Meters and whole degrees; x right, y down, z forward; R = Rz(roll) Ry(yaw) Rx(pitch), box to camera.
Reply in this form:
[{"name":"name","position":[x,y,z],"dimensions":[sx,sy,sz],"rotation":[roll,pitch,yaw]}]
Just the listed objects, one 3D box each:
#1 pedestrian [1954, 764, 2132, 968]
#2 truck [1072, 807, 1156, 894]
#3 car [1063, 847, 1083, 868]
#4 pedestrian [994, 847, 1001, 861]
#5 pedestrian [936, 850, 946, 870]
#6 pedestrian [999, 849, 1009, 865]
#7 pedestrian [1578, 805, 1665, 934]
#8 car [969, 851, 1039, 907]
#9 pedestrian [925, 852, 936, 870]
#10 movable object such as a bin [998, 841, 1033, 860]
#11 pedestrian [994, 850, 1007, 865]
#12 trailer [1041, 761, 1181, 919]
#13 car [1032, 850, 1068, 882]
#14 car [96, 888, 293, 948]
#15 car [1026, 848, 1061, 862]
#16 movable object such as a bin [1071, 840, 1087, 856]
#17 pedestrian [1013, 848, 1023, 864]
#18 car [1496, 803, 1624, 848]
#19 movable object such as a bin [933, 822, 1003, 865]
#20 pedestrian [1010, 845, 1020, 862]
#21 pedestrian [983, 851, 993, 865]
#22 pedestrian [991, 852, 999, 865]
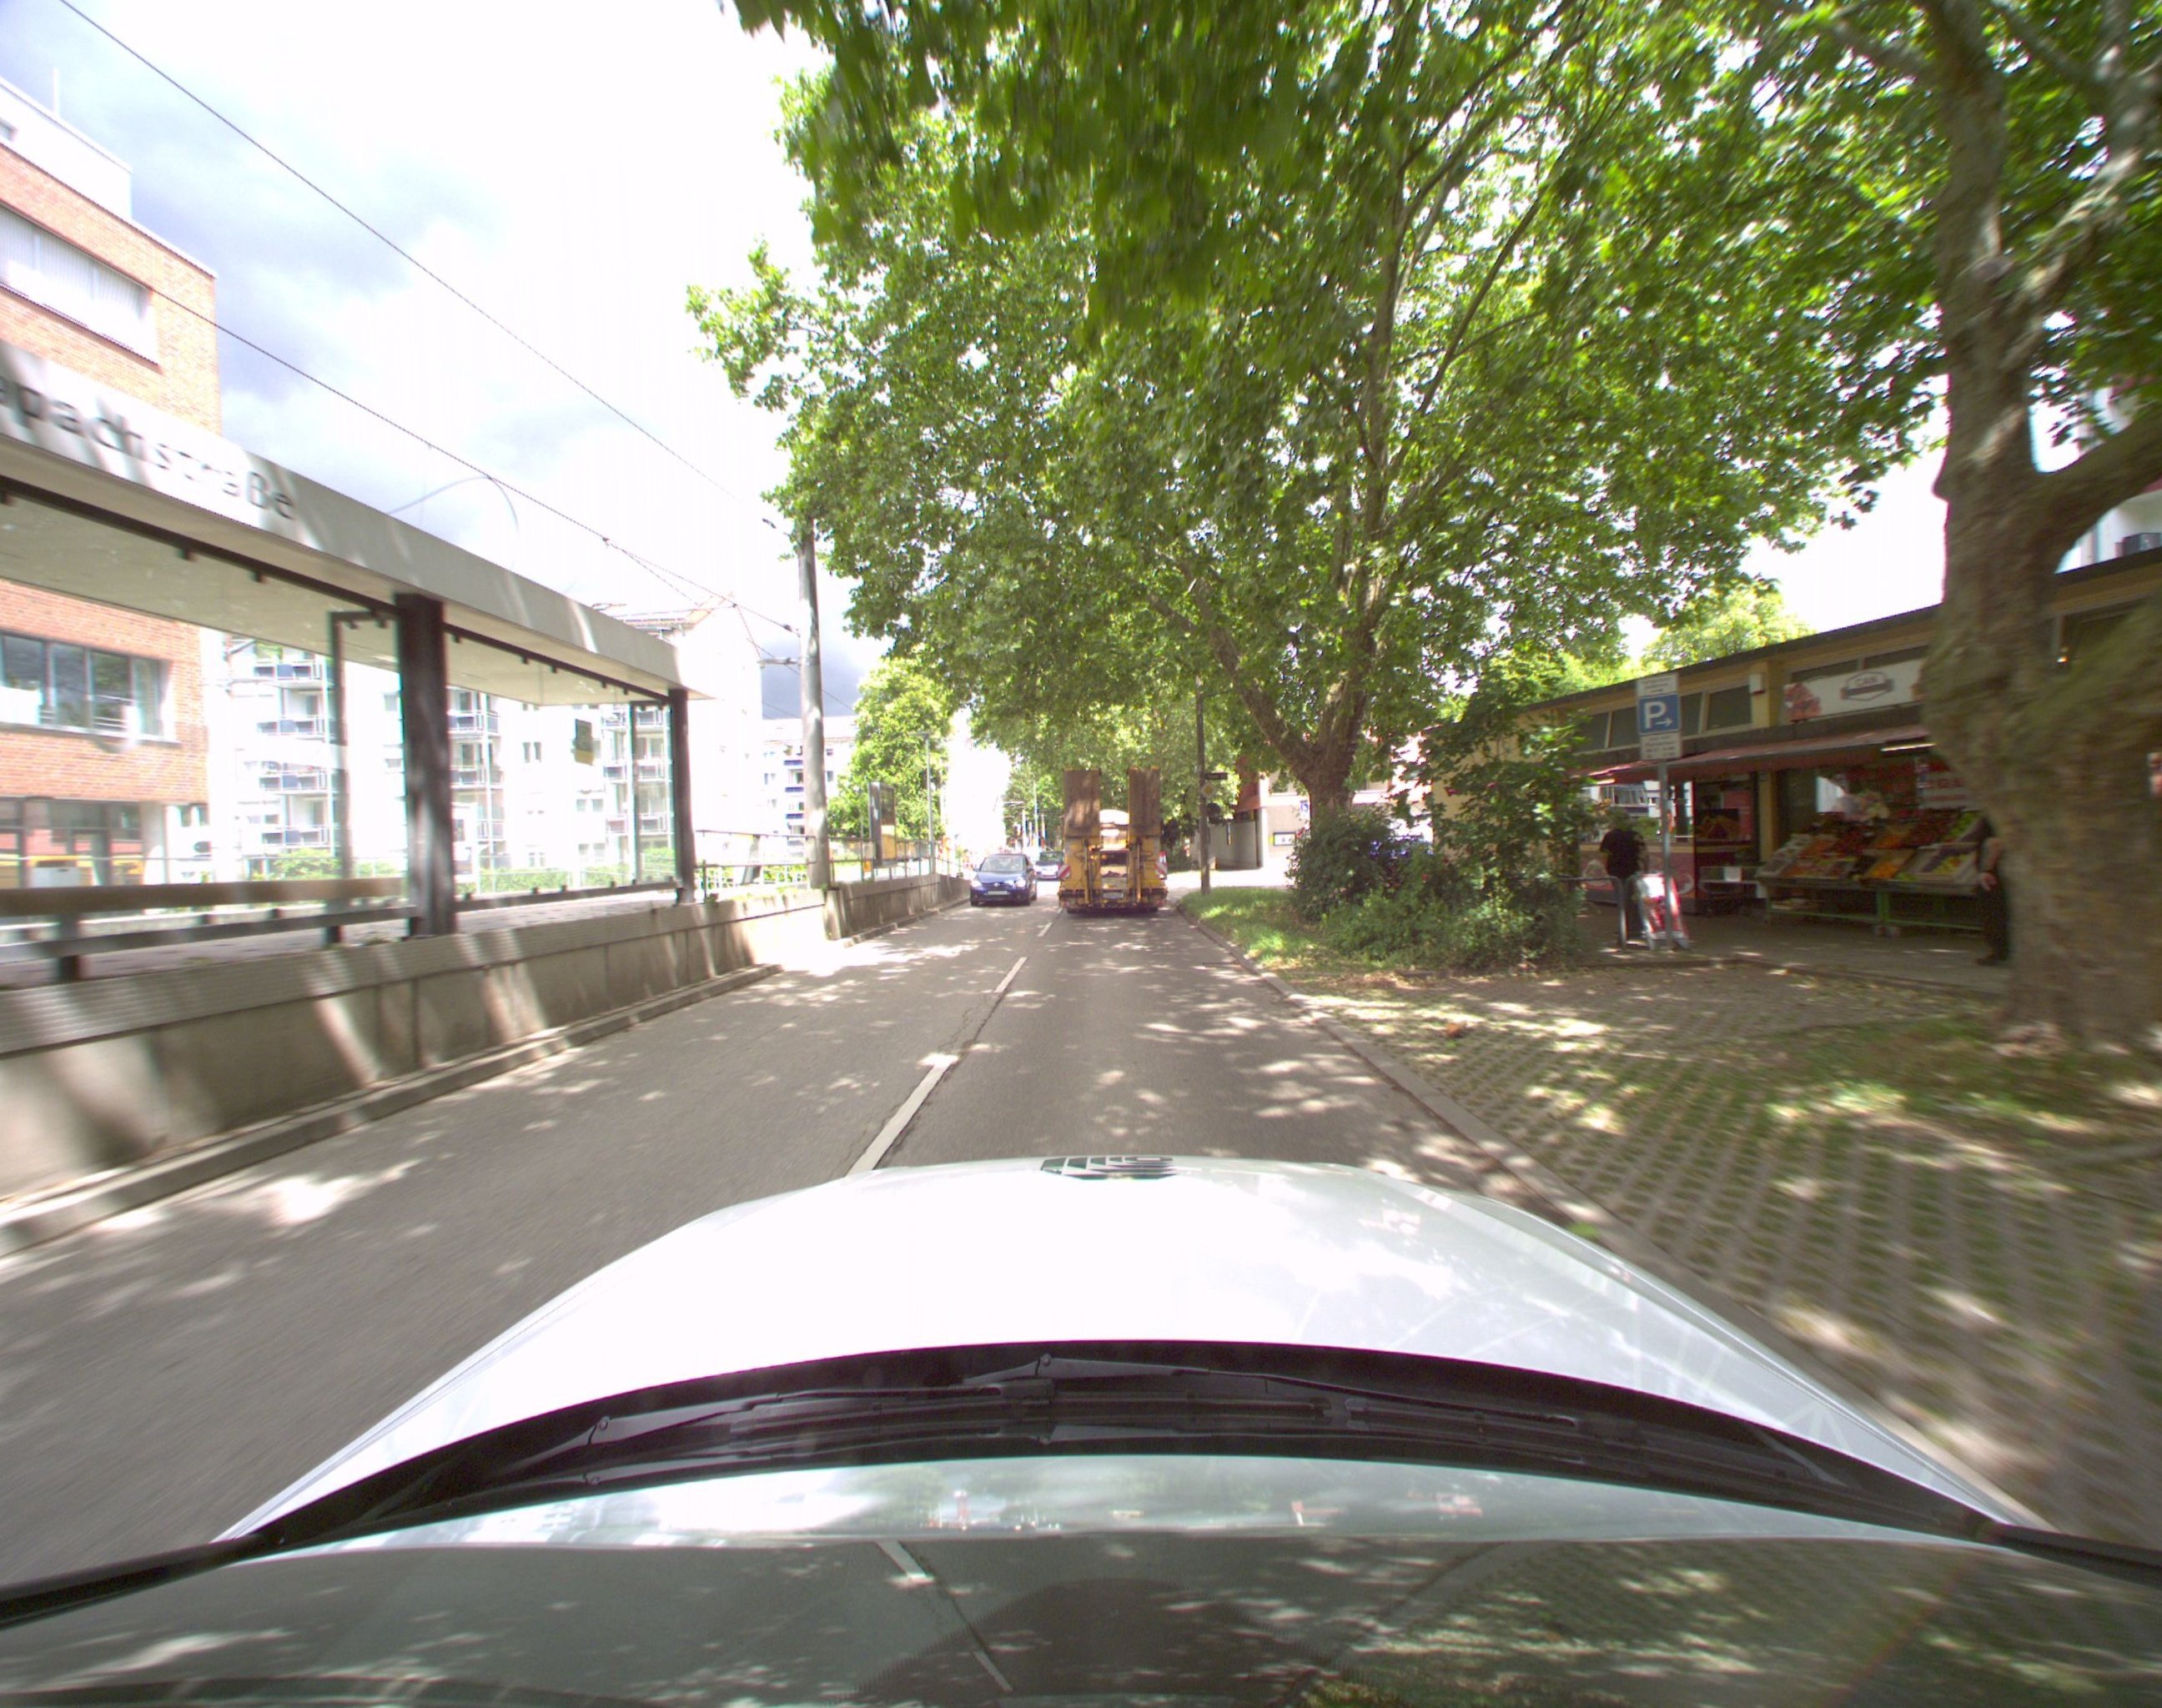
[{"name":"pedestrian","position":[8.675,0.099,7.374],"dimensions":[0.757,1.724,0.658],"rotation":[-3,0,-3]},{"name":"truck","position":[1.362,-0.136,33.606],"dimensions":[2.977,3.135,7.892],"rotation":[-1,0,2]},{"name":"car","position":[-0.721,0.343,74.512],"dimensions":[1.748,1.840,4.644],"rotation":[-1,-1,0]},{"name":"pedestrian","position":[-11.172,-0.023,108.536],"dimensions":[0.834,1.867,0.885],"rotation":[-1,0,-10]},{"name":"pedestrian","position":[-12.302,0.536,71.427],"dimensions":[0.697,1.718,0.867],"rotation":[-1,0,1]},{"name":"pedestrian","position":[-8.738,0.336,92.447],"dimensions":[0.878,1.760,0.841],"rotation":[-1,0,22]},{"name":"pedestrian","position":[7.380,0.204,11.150],"dimensions":[0.621,1.676,0.772],"rotation":[-2,0,1]},{"name":"car","position":[-2.297,0.728,25.246],"dimensions":[1.690,1.564,3.861],"rotation":[-1,0,1]},{"name":"pedestrian","position":[-13.151,0.607,71.121],"dimensions":[0.729,1.625,0.867],"rotation":[-2,0,1]},{"name":"movable object such as a bin","position":[-9.061,-0.485,112.535],"dimensions":[4.325,2.629,2.234],"rotation":[-1,0,28]},{"name":"pedestrian","position":[-9.372,0.408,94.588],"dimensions":[1.117,1.715,0.877],"rotation":[-1,0,-43]},{"name":"trailer","position":[0.912,-0.324,24.137],"dimensions":[3.142,3.552,11.103],"rotation":[-1,0,2]},{"name":"car","position":[-1.640,0.618,44.322],"dimensions":[1.747,1.633,4.119],"rotation":[0,0,1]},{"name":"car","position":[-28.789,2.025,26.666],"dimensions":[1.887,1.552,4.004],"rotation":[-3,0,3]},{"name":"car","position":[-5.755,0.178,124.393],"dimensions":[5.094,2.102,1.968],"rotation":[-1,0,-13]},{"name":"movable object such as a bin","position":[-0.287,-0.732,99.752],"dimensions":[1.389,2.013,2.565],"rotation":[-1,0,12]},{"name":"pedestrian","position":[-7.510,0.229,96.851],"dimensions":[0.877,1.867,0.842],"rotation":[-1,0,30]},{"name":"car","position":[17.809,-1.054,30.352],"dimensions":[3.983,1.443,1.523],"rotation":[-3,1,-7]},{"name":"movable object such as a bin","position":[-15.018,-1.282,108.047],"dimensions":[9.115,5.414,2.680],"rotation":[-1,0,28]},{"name":"pedestrian","position":[-7.576,-0.046,93.881],"dimensions":[0.890,1.867,0.830],"rotation":[-1,0,-27]},{"name":"pedestrian","position":[-10.943,0.484,95.486],"dimensions":[0.891,1.645,0.891],"rotation":[-1,0,-30]},{"name":"pedestrian","position":[-10.570,0.570,99.789],"dimensions":[0.887,1.645,0.833],"rotation":[-1,0,-15]}]
